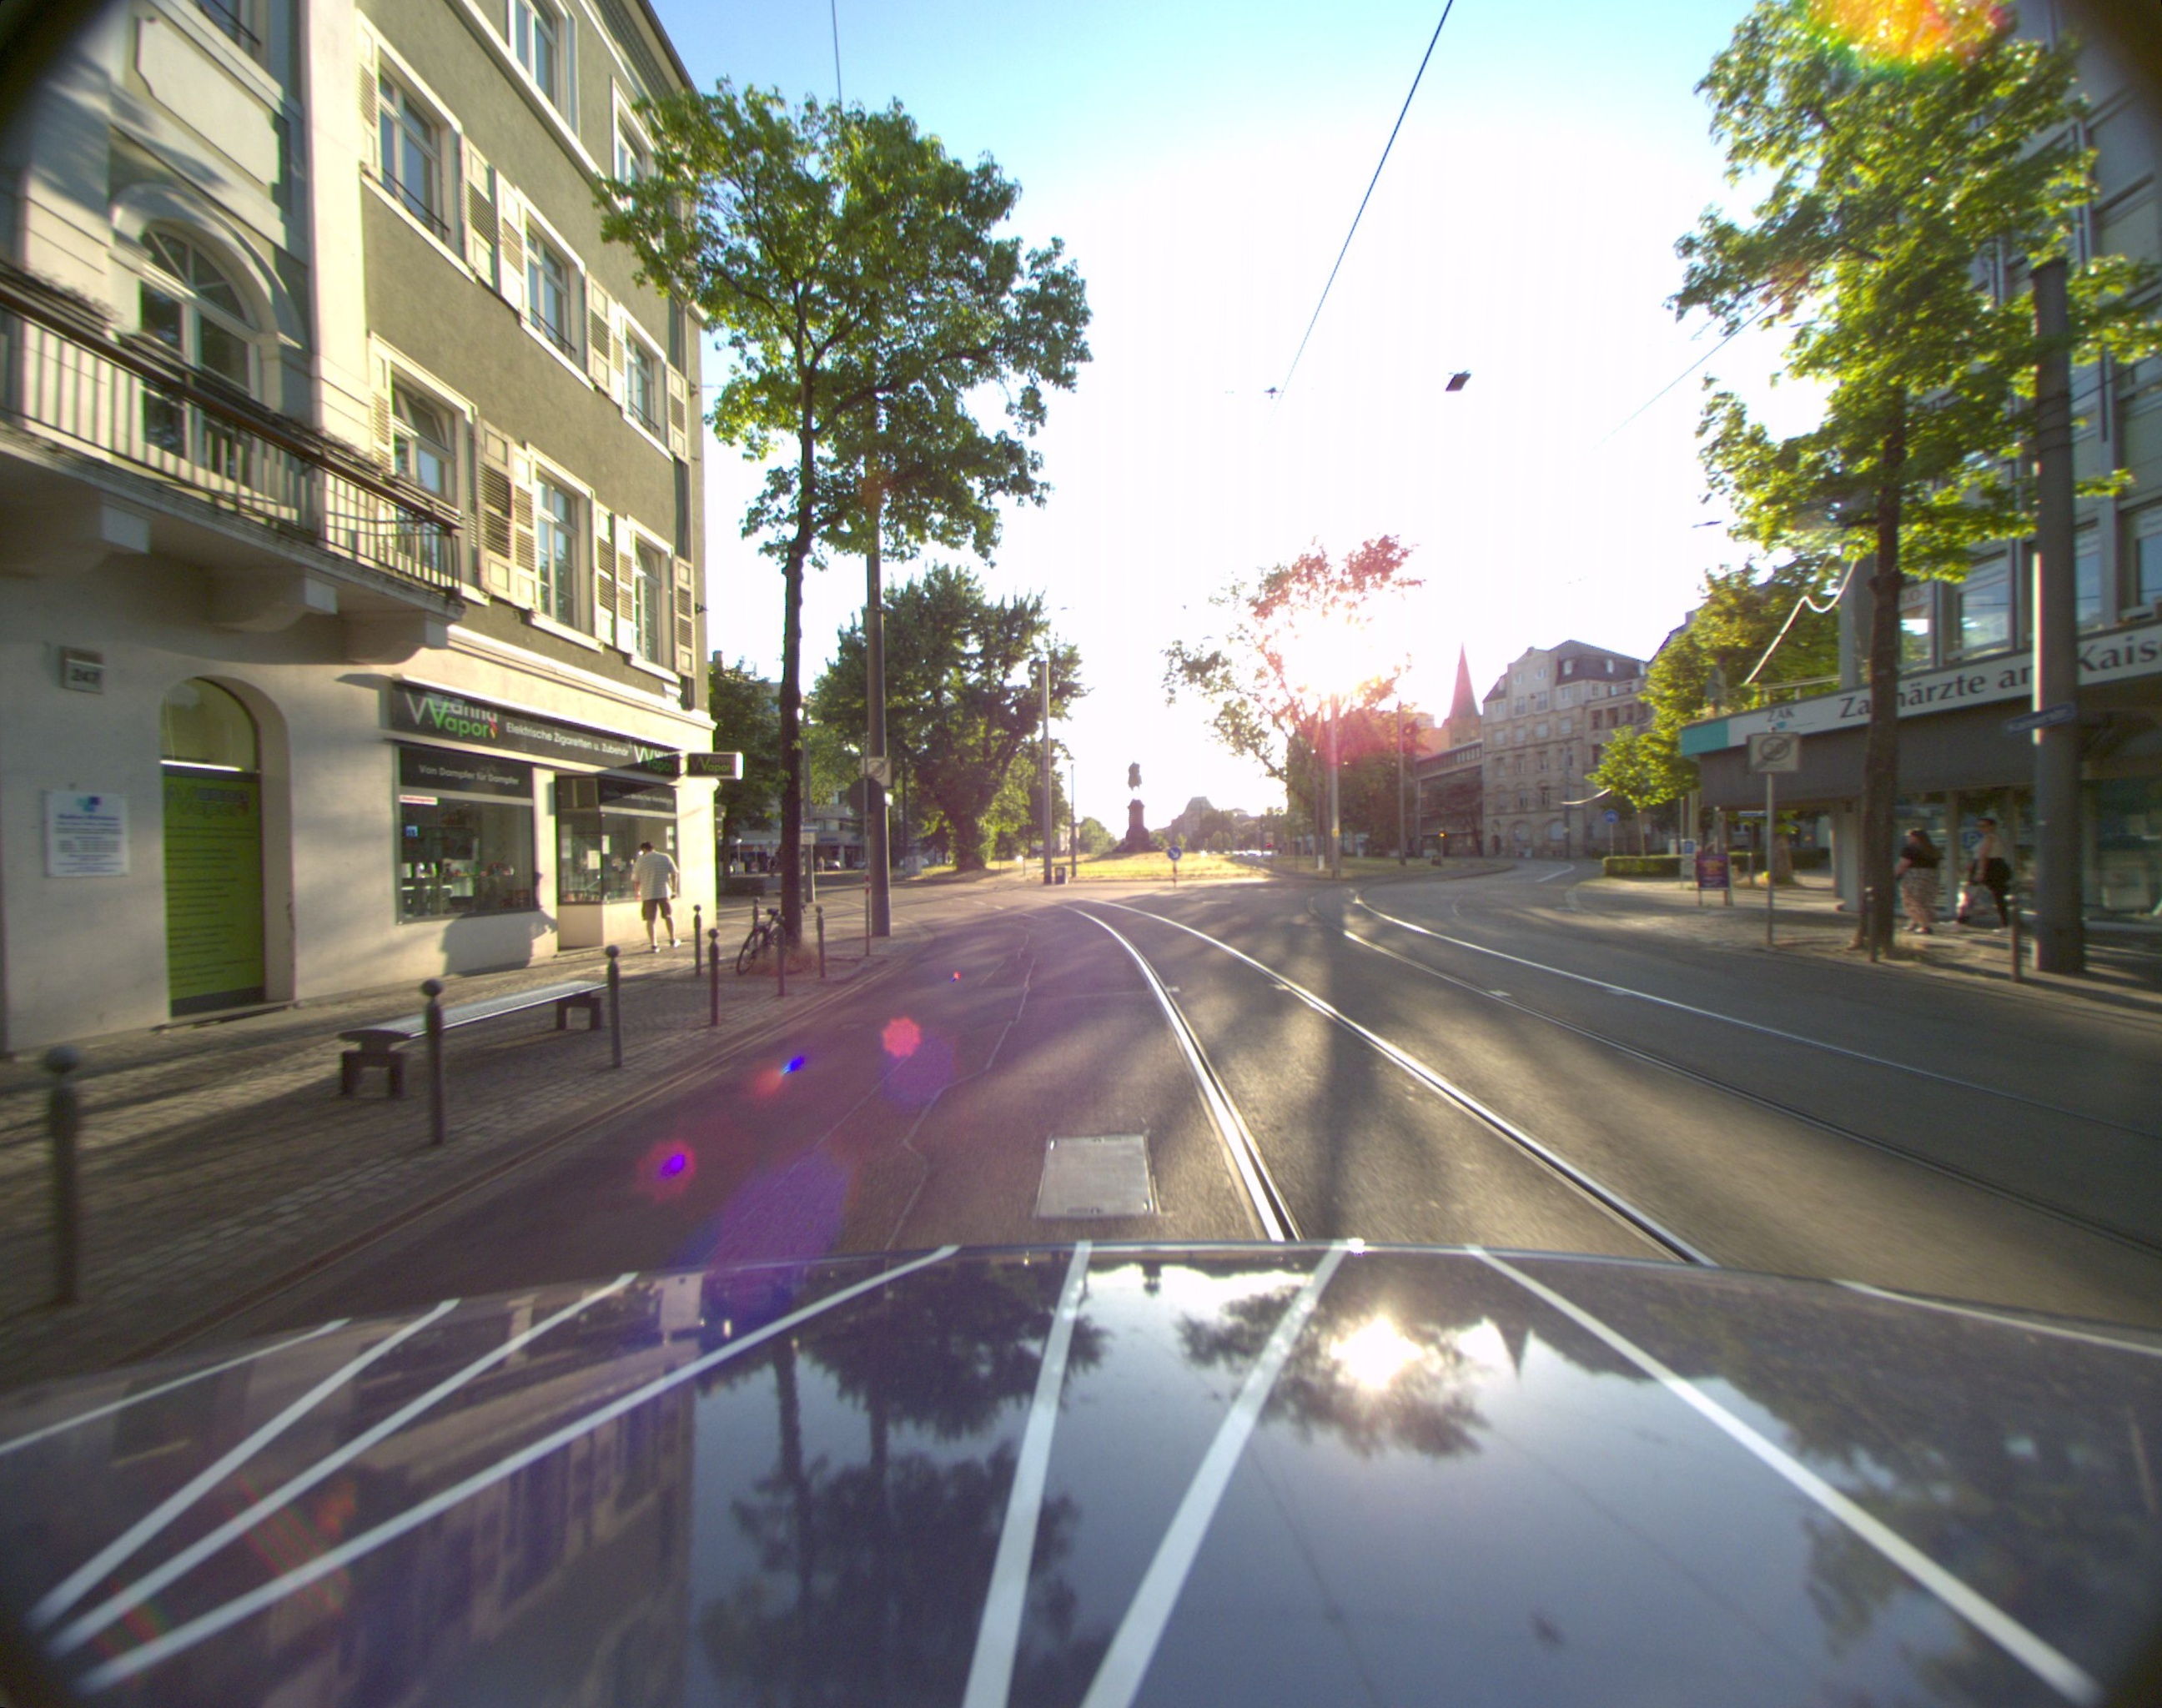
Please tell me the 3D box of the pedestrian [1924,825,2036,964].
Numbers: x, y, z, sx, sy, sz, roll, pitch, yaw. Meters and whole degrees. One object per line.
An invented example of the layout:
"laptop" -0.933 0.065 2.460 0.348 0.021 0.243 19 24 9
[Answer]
"pedestrian" 13.502 0.589 11.437 0.798 2.002 0.734 -1 1 3

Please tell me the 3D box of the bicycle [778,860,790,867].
"bicycle" -39.205 1.235 100.333 1.448 0.987 0.530 0 2 -25

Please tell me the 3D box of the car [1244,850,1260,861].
"car" 31.584 0.311 140.495 1.999 2.002 4.548 -2 1 0

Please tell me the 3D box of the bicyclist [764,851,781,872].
"bicyclist" -30.119 0.731 74.195 1.236 1.980 1.365 -2 1 -9

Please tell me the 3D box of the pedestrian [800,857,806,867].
"pedestrian" -38.720 1.133 105.882 0.612 1.313 0.591 -1 1 -7

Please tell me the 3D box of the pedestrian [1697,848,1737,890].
"pedestrian" 25.859 0.596 30.918 0.905 1.693 1.164 0 1 19

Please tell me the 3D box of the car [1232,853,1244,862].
"car" 33.823 0.748 163.557 1.998 2.002 4.001 -1 1 4

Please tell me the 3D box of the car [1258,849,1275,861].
"car" 31.527 0.113 129.383 1.998 2.002 4.000 -1 1 3

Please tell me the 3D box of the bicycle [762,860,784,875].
"bicycle" -30.120 1.293 74.345 1.273 1.353 3.238 -2 1 -9

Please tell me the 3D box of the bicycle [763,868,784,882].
"bicycle" -24.833 1.715 61.323 0.938 1.070 2.215 -2 1 -39

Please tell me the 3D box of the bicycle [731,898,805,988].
"bicycle" -4.439 1.226 10.882 0.355 1.070 1.698 -2 1 -1

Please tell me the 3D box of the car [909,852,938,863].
"car" -25.026 0.563 121.203 1.995 1.596 4.531 -2 1 29

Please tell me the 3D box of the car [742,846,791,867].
"car" -40.746 0.281 98.594 5.431 2.711 2.181 0 1 -1

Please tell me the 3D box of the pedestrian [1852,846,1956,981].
"pedestrian" 12.675 0.894 11.725 0.798 2.002 0.734 -1 1 3

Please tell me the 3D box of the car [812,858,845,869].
"car" -34.106 1.268 102.779 1.790 1.434 4.007 -2 1 28

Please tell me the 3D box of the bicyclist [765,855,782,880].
"bicyclist" -24.764 1.107 61.181 0.926 1.962 1.110 -3 1 -39

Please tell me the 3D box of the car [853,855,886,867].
"car" -30.523 1.016 109.869 1.995 1.596 4.531 -2 1 29

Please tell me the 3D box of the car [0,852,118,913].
"car" -37.347 0.992 26.751 4.432 2.002 2.000 -1 1 3

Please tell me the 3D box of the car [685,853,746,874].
"car" -34.736 0.872 72.264 4.709 1.761 1.999 -2 1 -5

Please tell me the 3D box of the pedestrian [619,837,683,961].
"pedestrian" -7.261 0.725 12.883 0.845 2.002 0.844 -2 2 -27

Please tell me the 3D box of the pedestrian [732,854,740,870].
"pedestrian" -42.044 0.987 92.534 0.619 1.827 0.537 4 1 33
